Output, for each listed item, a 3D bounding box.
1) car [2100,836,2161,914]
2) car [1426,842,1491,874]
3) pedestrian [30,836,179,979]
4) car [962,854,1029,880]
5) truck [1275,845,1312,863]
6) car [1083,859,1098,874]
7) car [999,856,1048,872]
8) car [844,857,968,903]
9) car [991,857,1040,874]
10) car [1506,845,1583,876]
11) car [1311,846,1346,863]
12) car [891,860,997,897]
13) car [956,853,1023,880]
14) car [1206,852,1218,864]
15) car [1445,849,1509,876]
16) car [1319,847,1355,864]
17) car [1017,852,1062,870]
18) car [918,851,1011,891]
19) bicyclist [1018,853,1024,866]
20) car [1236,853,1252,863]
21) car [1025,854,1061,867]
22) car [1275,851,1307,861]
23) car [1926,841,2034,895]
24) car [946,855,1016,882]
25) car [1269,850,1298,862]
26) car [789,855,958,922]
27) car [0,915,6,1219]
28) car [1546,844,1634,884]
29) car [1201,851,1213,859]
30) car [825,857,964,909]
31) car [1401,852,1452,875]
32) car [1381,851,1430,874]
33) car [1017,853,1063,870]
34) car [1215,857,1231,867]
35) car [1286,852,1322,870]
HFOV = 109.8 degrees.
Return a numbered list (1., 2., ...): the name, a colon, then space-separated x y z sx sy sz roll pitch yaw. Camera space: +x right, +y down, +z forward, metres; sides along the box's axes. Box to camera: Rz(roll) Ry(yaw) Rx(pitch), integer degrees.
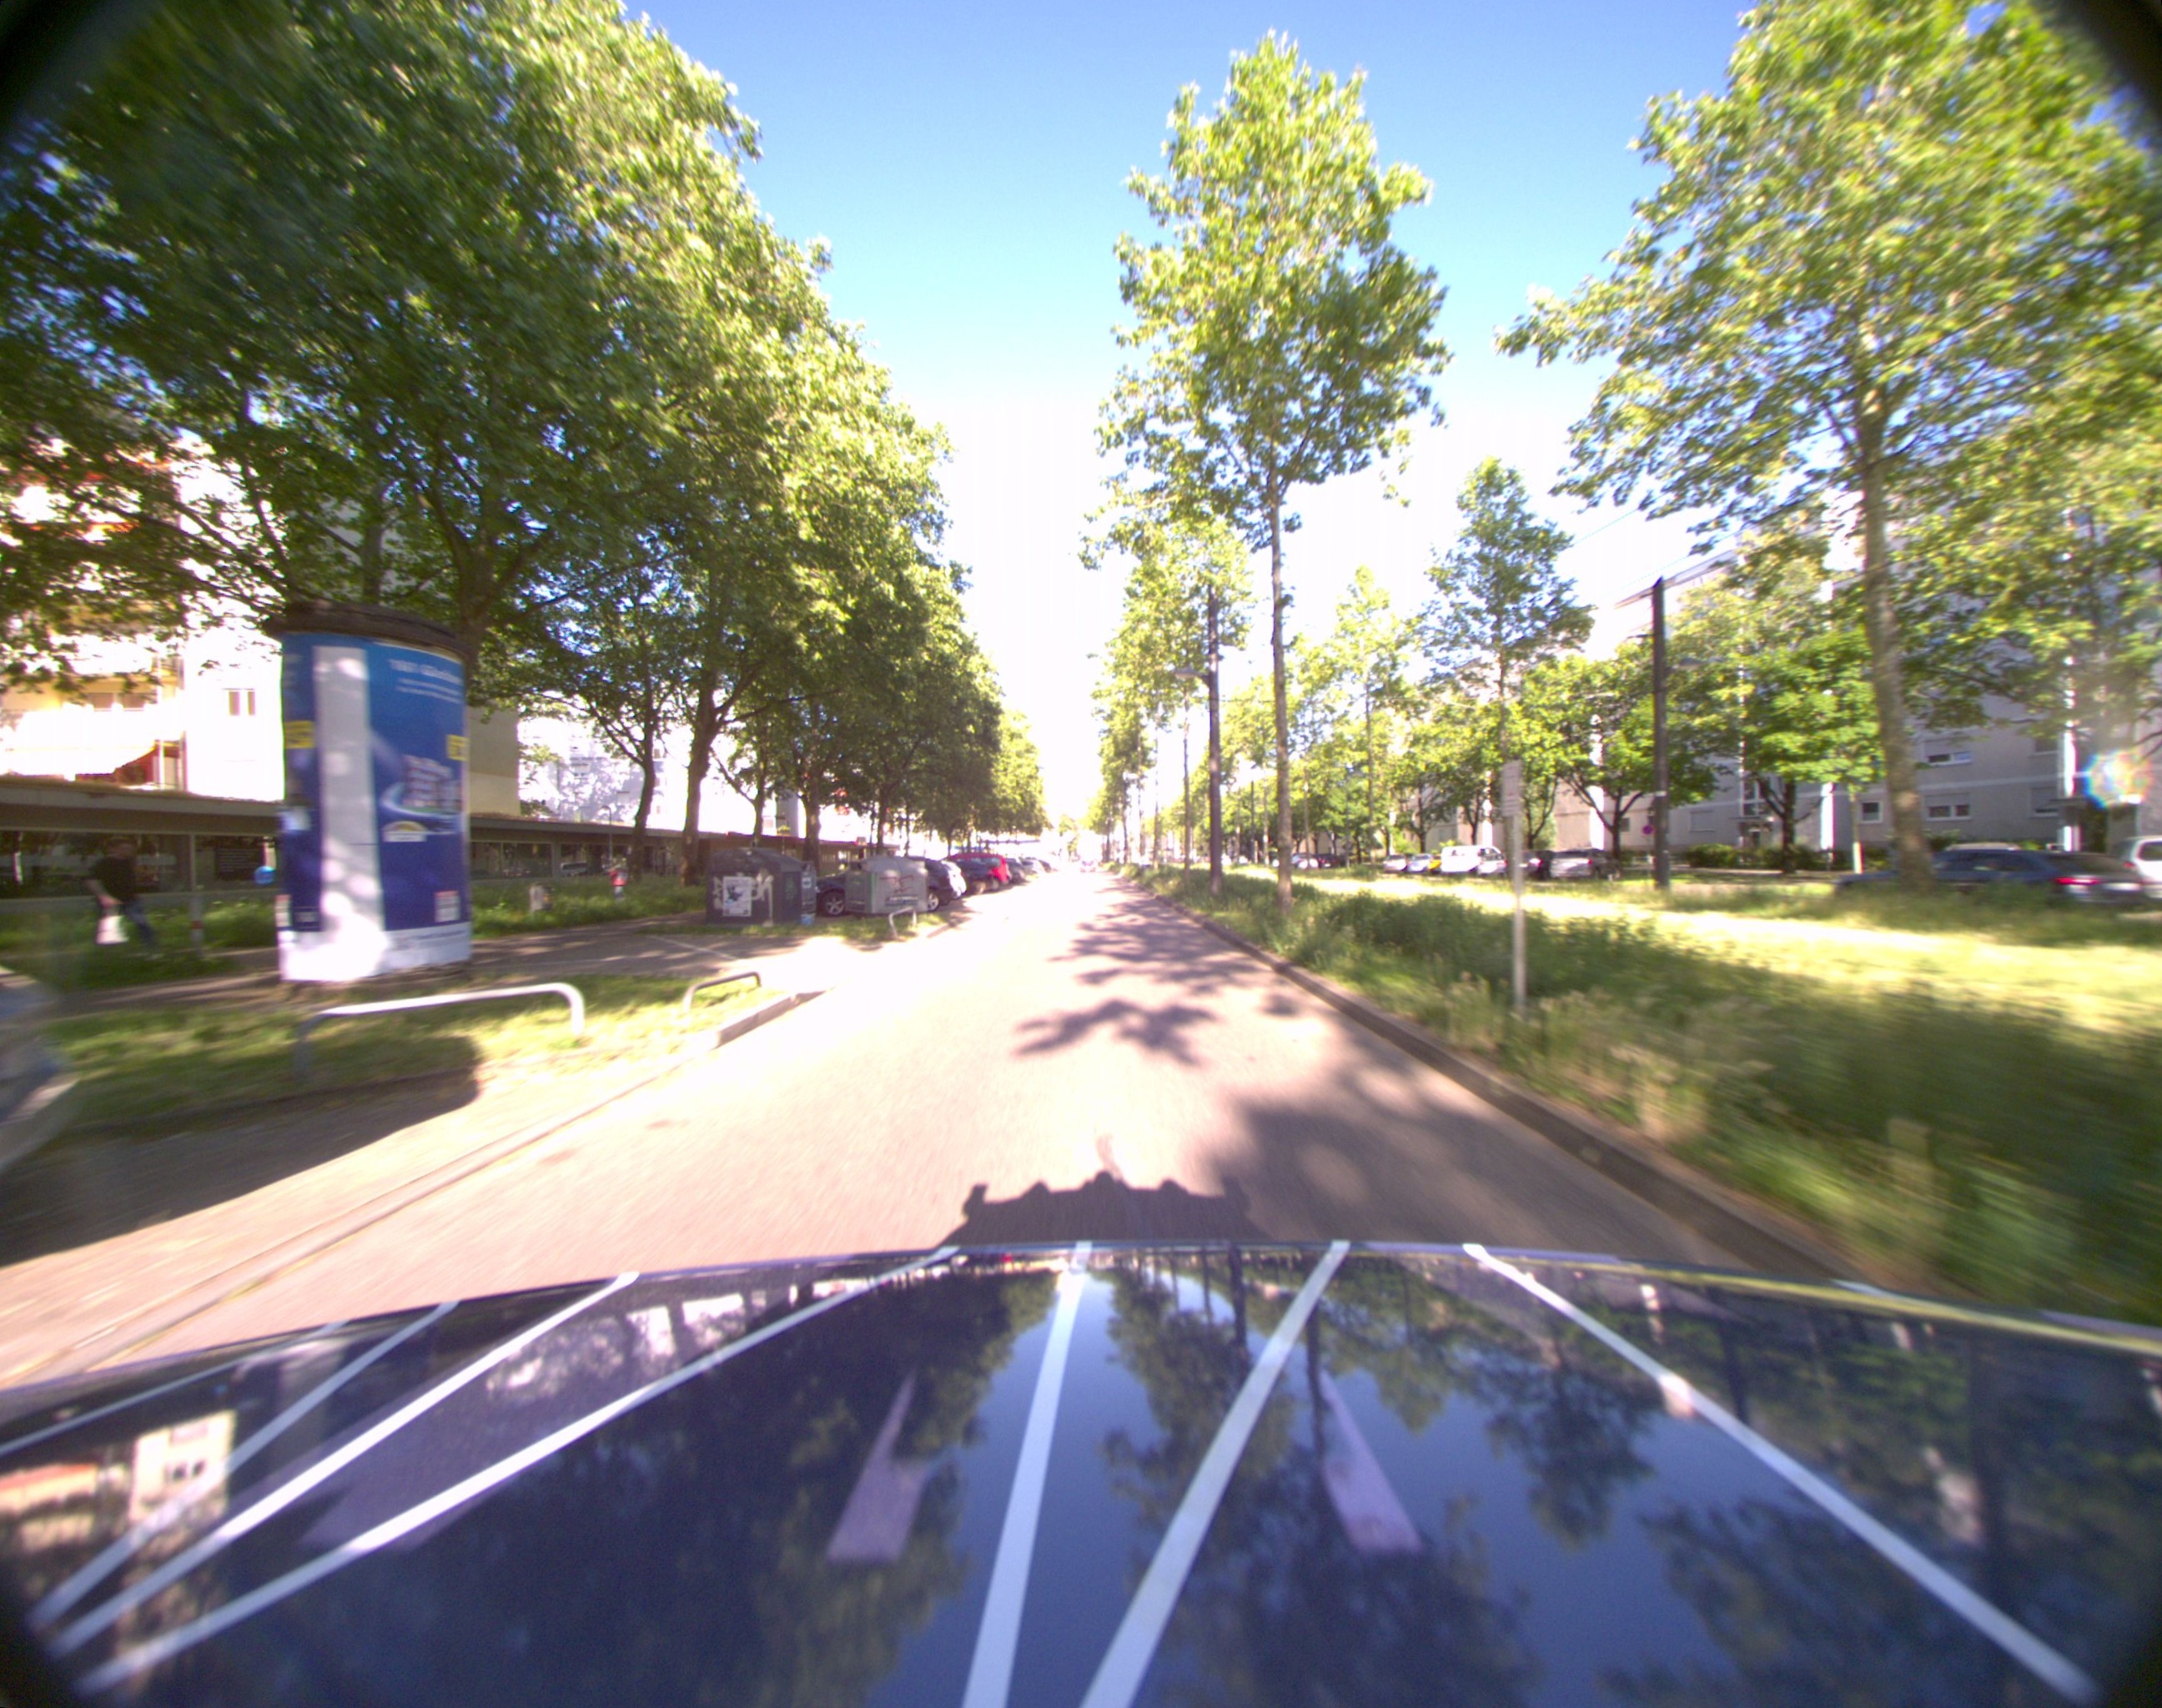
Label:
1. car: 24.710 0.416 17.094 3.987 1.665 1.782 -1 1 -42
2. car: 25.283 0.243 50.770 4.807 1.994 1.888 -1 -1 -37
3. pedestrian: -13.566 0.710 10.593 0.875 1.903 0.871 -1 1 -8
4. car: -5.186 0.764 46.296 3.795 1.462 1.646 0 0 -42
5. truck: 23.660 -0.063 84.469 4.092 1.766 1.645 -2 7 -35
6. car: 1.061 1.336 83.441 1.619 1.536 4.278 -1 0 2
7. car: -5.135 0.856 68.239 4.194 1.404 1.715 0 0 -42
8. car: -6.412 0.894 28.076 4.094 1.573 1.776 0 0 -41
9. car: -5.480 0.957 64.026 3.947 1.365 1.583 0 0 -42
10. car: 24.301 0.329 39.840 4.092 1.521 1.814 -1 -1 -33
11. car: 25.568 0.100 78.465 4.094 1.636 1.647 0 -3 -45
12. car: -5.729 0.993 31.977 4.093 1.472 1.647 0 0 -35
13. car: -5.976 0.793 49.852 4.036 1.695 1.756 0 0 -40
14. car: 24.534 0.812 142.313 1.718 2.249 3.933 -1 0 0
15. car: 24.305 0.503 46.605 4.091 1.424 1.576 -3 0 -33
16. car: 25.187 0.121 74.591 1.647 1.466 4.094 -6 -4 44
17. car: -4.525 0.764 82.501 4.680 1.842 1.825 0 0 -39
18. car: -5.463 0.757 35.901 4.093 1.800 1.646 0 0 -39
19. bicyclist: -7.643 0.708 96.375 0.624 1.730 1.023 -1 0 1
20. car: 25.369 0.641 118.441 1.718 1.536 4.201 -1 0 2
21. car: -4.641 0.799 92.405 4.005 1.461 1.756 2 0 -30
22. car: 25.000 0.221 90.448 3.833 1.239 1.835 0 0 -41
23. car: 24.421 0.329 20.747 4.140 1.330 1.790 -1 0 -42
24. car: -5.584 0.775 42.751 1.646 1.440 3.635 1 0 45
25. car: 24.994 0.207 93.675 1.835 1.426 3.833 -1 0 42
26. car: -5.859 0.906 21.700 4.329 1.707 1.631 -1 0 -38
27. car: -6.201 1.006 1.439 4.503 1.435 1.851 0 0 -42
28. car: 24.360 0.440 36.368 4.092 1.599 1.988 -1 7 -35
29. car: 24.420 0.160 146.959 1.598 1.480 4.020 -1 0 0
30. car: -6.090 0.888 24.961 4.092 1.573 1.776 0 0 -34
31. car: 24.157 0.634 53.100 4.093 1.474 1.647 -1 0 -41
32. car: 24.338 0.619 56.899 4.093 1.636 1.647 -1 -1 -41
33. car: -4.222 0.757 78.515 4.512 1.695 1.756 0 0 -40
34. car: 21.794 1.267 116.629 1.650 1.477 3.849 0 1 1
35. car: 19.483 0.618 66.469 1.928 1.497 4.085 2 0 0
